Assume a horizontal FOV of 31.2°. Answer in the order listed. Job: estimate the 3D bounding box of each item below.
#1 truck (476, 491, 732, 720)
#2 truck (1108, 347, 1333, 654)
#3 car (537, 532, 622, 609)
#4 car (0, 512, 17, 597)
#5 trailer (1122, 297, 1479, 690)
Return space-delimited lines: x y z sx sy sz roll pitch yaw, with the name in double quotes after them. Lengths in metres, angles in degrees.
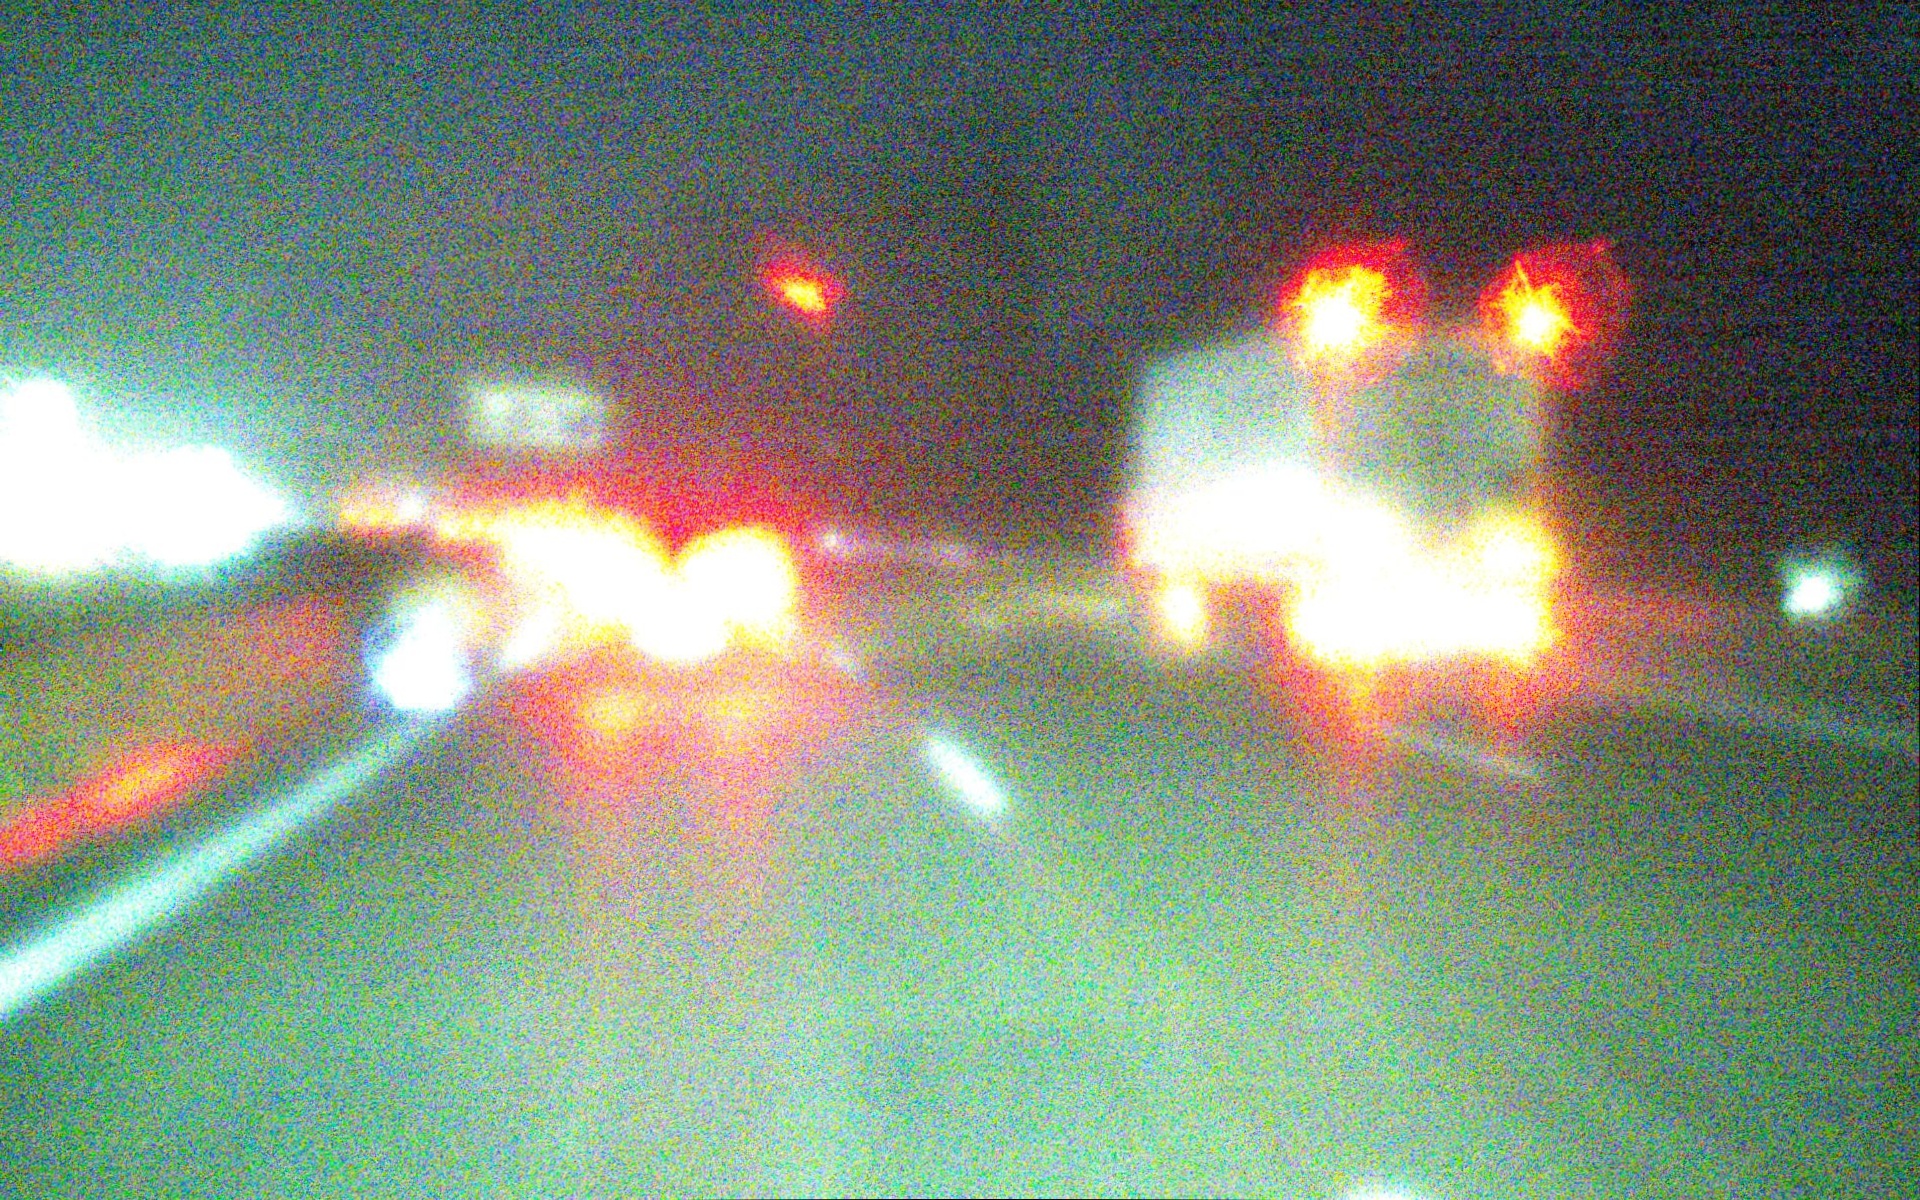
-3.724 -0.019 37.165 2.145 2.070 6.604 5 1 -2 "truck"
3.747 -1.439 50.666 2.710 4.227 5.293 1 1 -1 "truck"
-10.223 -0.810 92.249 1.993 2.007 4.001 0 1 -10 "car"
-17.888 -0.832 59.759 1.993 1.473 4.001 5 2 -3 "car"
4.031 -1.318 44.127 2.739 4.233 13.373 -1 1 -2 "trailer"
